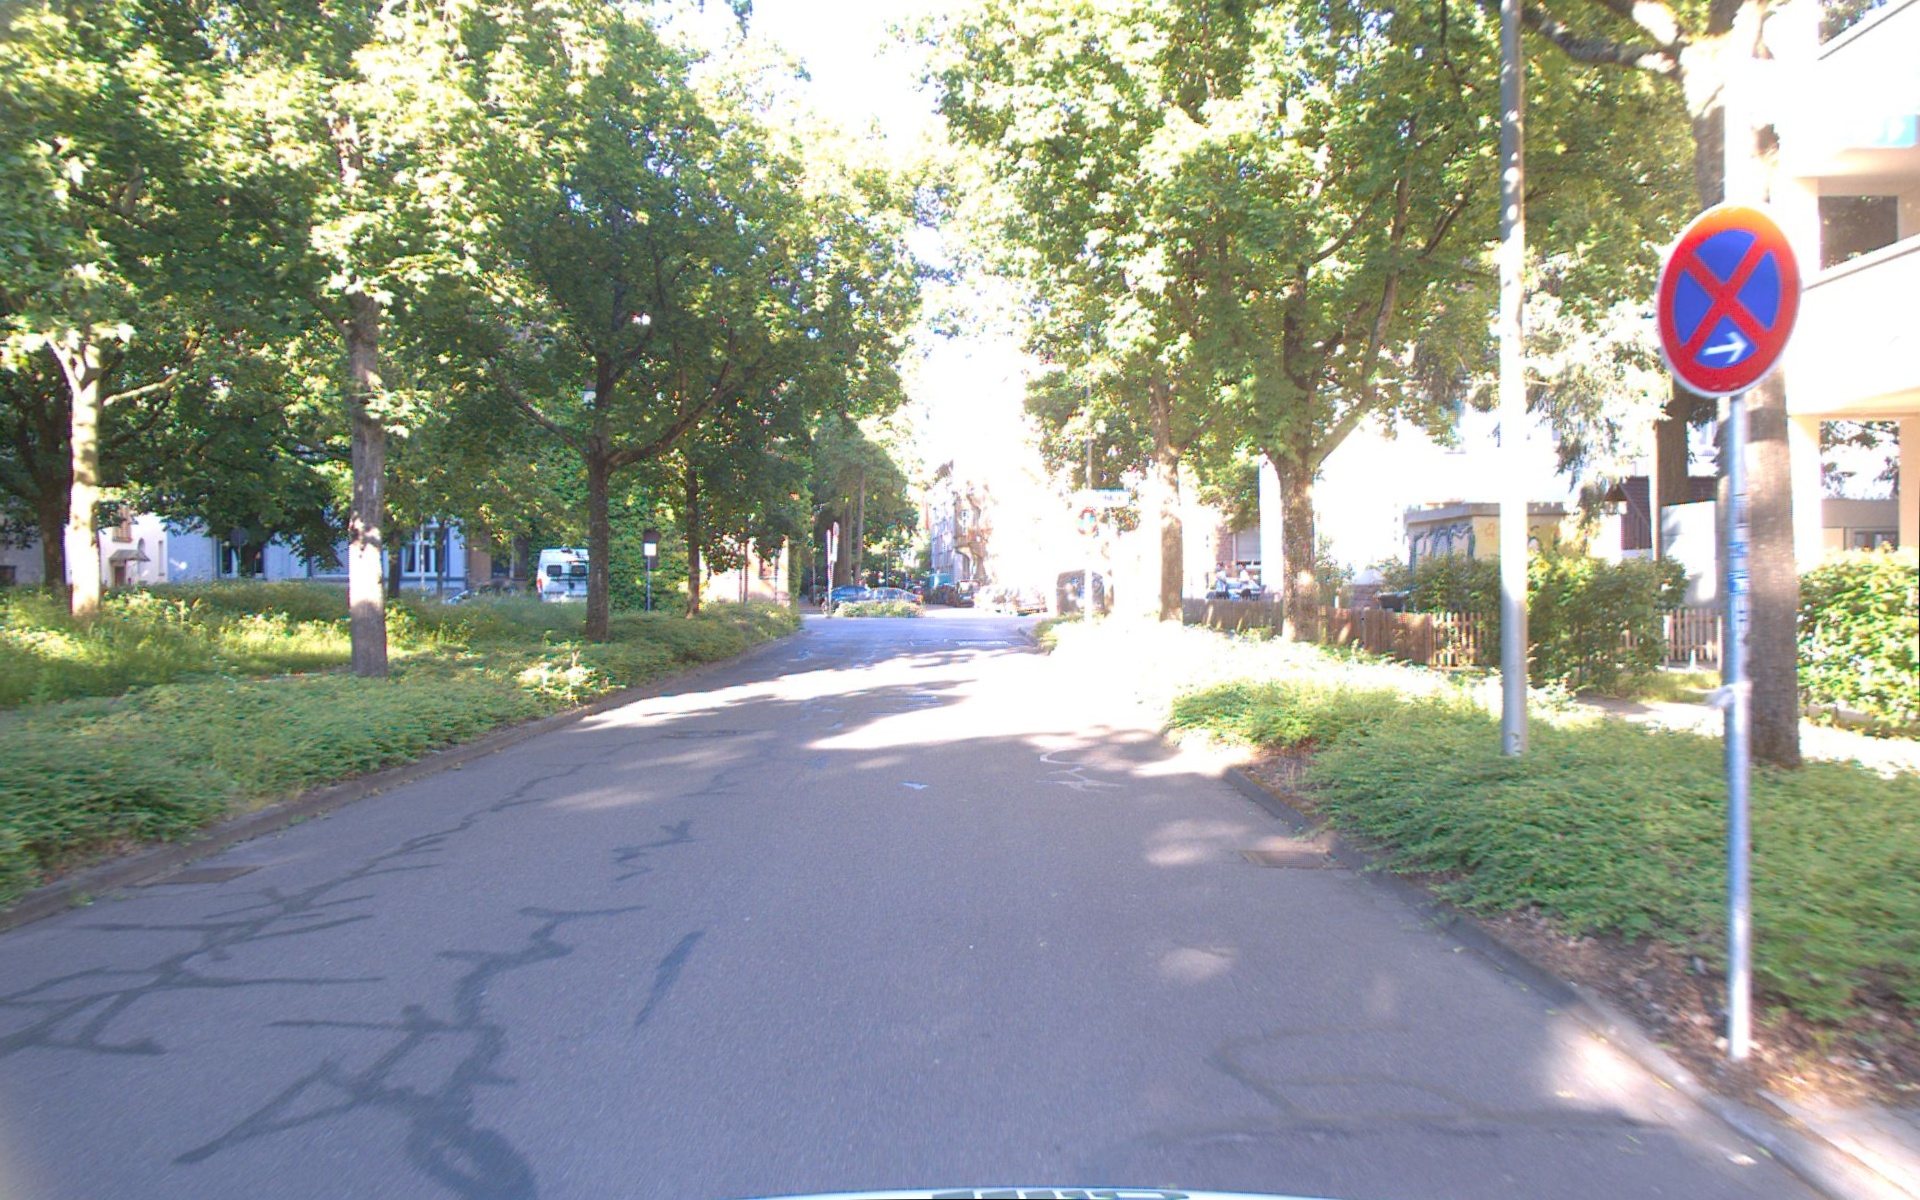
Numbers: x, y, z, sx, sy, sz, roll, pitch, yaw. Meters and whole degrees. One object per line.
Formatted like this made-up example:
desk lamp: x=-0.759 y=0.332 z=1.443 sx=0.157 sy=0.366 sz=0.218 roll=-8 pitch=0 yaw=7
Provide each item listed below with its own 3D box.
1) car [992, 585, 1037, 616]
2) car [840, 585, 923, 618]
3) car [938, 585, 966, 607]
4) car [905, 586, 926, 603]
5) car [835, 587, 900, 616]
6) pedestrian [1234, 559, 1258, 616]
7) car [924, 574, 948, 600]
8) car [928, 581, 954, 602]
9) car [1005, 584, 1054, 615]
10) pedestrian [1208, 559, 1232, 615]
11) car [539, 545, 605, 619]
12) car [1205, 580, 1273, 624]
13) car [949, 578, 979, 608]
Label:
car: x=2.928 y=-0.002 z=89.424 sx=1.955 sy=1.601 sz=3.996 roll=1 pitch=0 yaw=-5
car: x=-3.847 y=0.064 z=81.043 sx=3.912 sy=1.527 sz=1.814 roll=1 pitch=0 yaw=-9
car: x=-0.611 y=-0.325 z=119.957 sx=1.775 sy=1.527 sz=3.997 roll=1 pitch=0 yaw=-4
car: x=-4.113 y=-0.520 z=153.634 sx=1.775 sy=1.527 sz=3.997 roll=1 pitch=0 yaw=-4
car: x=-5.160 y=0.067 z=92.381 sx=3.520 sy=1.536 sz=1.497 roll=1 pitch=0 yaw=-9
pedestrian: x=9.712 y=-0.413 z=56.163 sx=0.604 sy=1.903 sz=0.694 roll=1 pitch=0 yaw=-8
car: x=-2.019 y=-1.076 z=136.616 sx=1.775 sy=2.086 sz=3.997 roll=1 pitch=0 yaw=-4
car: x=-1.492 y=-0.661 z=126.689 sx=1.775 sy=1.527 sz=3.997 roll=1 pitch=0 yaw=-4
car: x=3.472 y=-0.034 z=83.200 sx=1.777 sy=1.527 sz=3.993 roll=-1 pitch=1 yaw=-8
pedestrian: x=8.925 y=-0.444 z=56.828 sx=0.604 sy=1.903 sz=0.694 roll=1 pitch=0 yaw=-8
car: x=-13.930 y=-0.646 z=59.560 sx=1.957 sy=2.552 sz=3.992 roll=1 pitch=0 yaw=-9
car: x=10.644 y=0.066 z=63.343 sx=1.953 sy=1.612 sz=3.639 roll=1 pitch=0 yaw=-1
car: x=0.261 y=-0.482 z=111.706 sx=1.775 sy=1.959 sz=3.997 roll=1 pitch=0 yaw=-4
